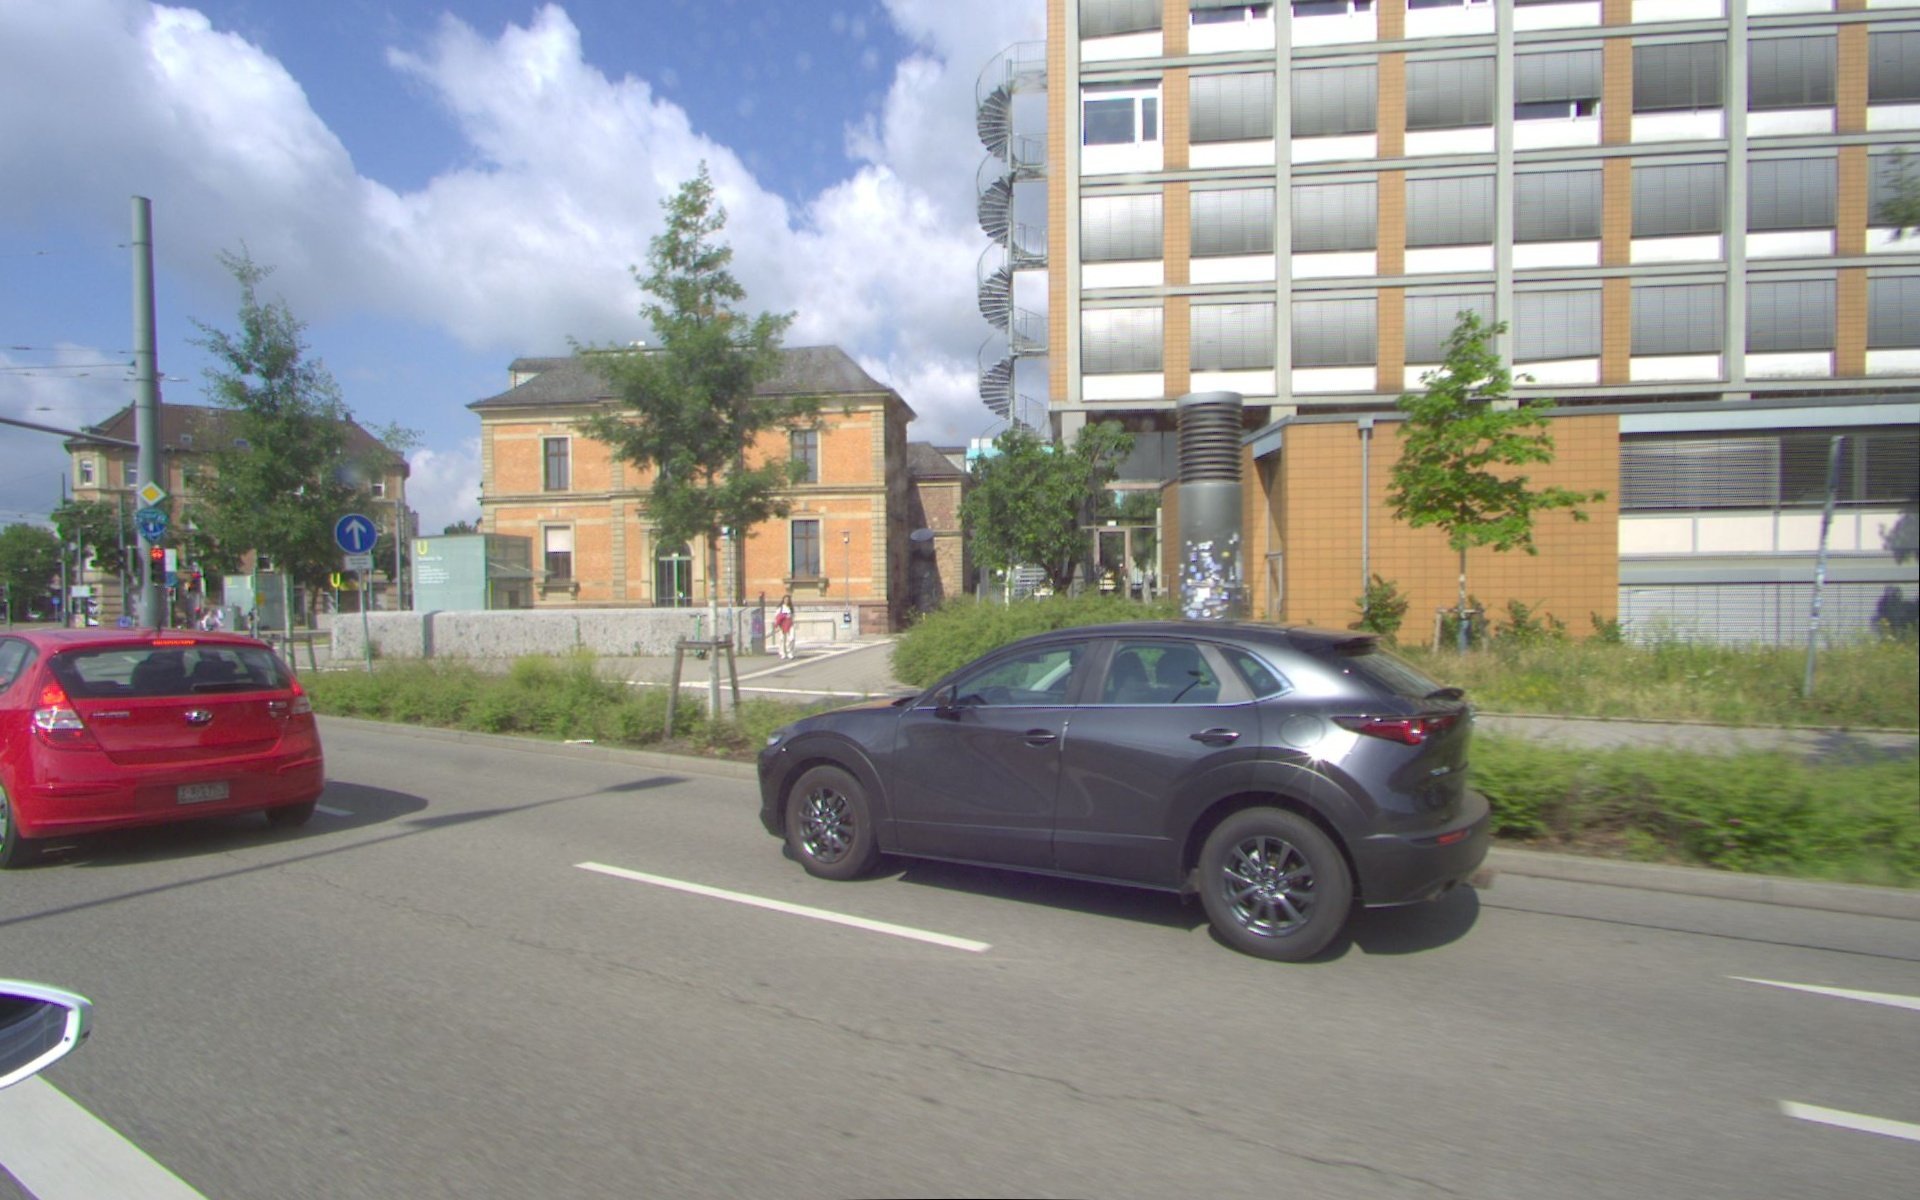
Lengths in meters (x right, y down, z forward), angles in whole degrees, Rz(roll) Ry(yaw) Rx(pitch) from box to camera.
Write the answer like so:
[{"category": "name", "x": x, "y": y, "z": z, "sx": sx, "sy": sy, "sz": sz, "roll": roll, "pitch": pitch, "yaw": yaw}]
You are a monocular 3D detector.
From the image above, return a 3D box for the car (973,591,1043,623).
[{"category": "car", "x": 3.259, "y": 0.466, "z": 67.090, "sx": 4.624, "sy": 2.040, "sz": 2.000, "roll": 0, "pitch": 0, "yaw": 6}]

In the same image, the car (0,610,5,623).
[{"category": "car", "x": -115.539, "y": 1.956, "z": 119.340, "sx": 1.975, "sy": 1.595, "sz": 3.971, "roll": 0, "pitch": 0, "yaw": -36}]

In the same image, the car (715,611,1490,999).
[{"category": "car", "x": 0.686, "y": 0.840, "z": 5.873, "sx": 4.146, "sy": 1.528, "sz": 1.802, "roll": 0, "pitch": -1, "yaw": 33}]

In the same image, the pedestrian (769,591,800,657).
[{"category": "pedestrian", "x": -4.650, "y": 0.628, "z": 26.541, "sx": 0.752, "sy": 1.709, "sz": 0.880, "roll": 0, "pitch": 1, "yaw": -13}]

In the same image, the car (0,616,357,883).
[{"category": "car", "x": -6.475, "y": 0.875, "z": 7.541, "sx": 4.011, "sy": 1.458, "sz": 1.812, "roll": 0, "pitch": 0, "yaw": 34}]

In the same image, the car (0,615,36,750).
[{"category": "car", "x": -12.760, "y": 0.941, "z": 11.906, "sx": 4.279, "sy": 1.492, "sz": 1.841, "roll": -1, "pitch": 0, "yaw": 37}]
